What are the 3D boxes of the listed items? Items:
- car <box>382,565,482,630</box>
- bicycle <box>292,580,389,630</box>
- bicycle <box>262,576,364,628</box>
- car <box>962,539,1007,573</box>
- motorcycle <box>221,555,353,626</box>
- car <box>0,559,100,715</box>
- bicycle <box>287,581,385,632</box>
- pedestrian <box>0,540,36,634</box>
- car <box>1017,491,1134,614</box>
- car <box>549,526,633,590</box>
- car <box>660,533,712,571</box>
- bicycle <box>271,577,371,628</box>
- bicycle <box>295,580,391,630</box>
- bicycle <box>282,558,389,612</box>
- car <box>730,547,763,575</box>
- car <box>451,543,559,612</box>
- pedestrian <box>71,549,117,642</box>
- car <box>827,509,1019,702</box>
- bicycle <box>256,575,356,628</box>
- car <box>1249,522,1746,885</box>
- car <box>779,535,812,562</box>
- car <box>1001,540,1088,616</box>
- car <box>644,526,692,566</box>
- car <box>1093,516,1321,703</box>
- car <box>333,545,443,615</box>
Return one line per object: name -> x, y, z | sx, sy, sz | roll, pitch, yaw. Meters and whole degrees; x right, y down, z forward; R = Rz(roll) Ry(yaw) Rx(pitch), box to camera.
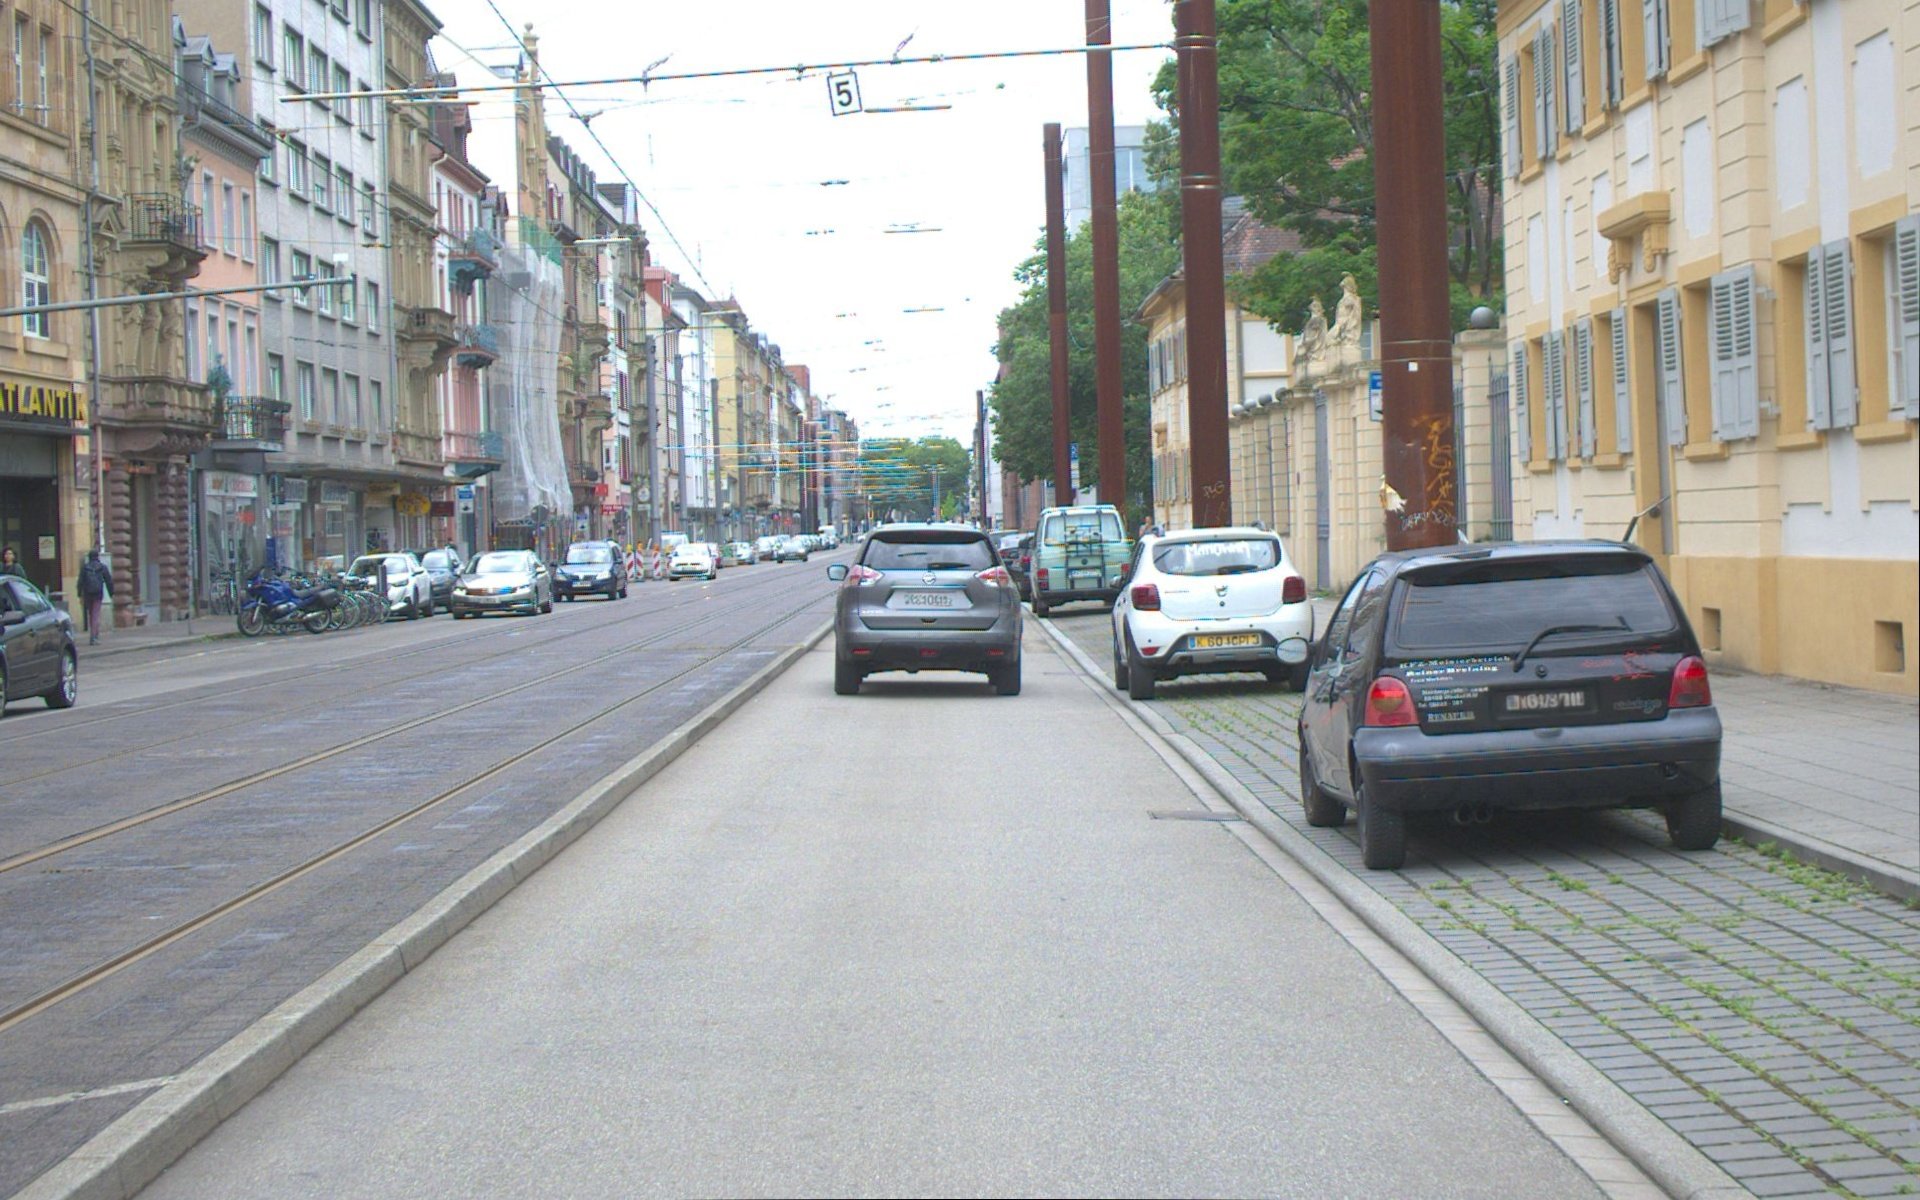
car -> -12.984, -0.083, 84.776 | 1.776, 1.499, 4.402 | -1, 1, 0
bicycle -> -13.118, 0.104, 72.832 | 1.965, 0.998, 0.463 | -2, 1, -7
bicycle -> -13.061, 0.034, 69.426 | 1.965, 0.998, 0.463 | -2, 1, -7
car -> 1.028, -1.884, 146.169 | 1.776, 1.415, 4.135 | -1, 1, 0
motorcycle -> -13.074, -0.188, 66.855 | 2.337, 1.298, 0.883 | -2, 1, -36
car -> -9.914, 0.388, 33.651 | 1.827, 1.428, 4.667 | -4, 1, -1
bicycle -> -13.009, 0.127, 71.685 | 1.965, 0.998, 0.463 | -2, 1, -7
pedestrian -> -16.389, -0.231, 59.255 | 0.685, 1.608, 0.742 | -1, 1, 0
car -> 2.130, -0.901, 64.572 | 1.851, 2.108, 4.985 | -4, 1, 0
car -> -10.048, -1.160, 93.794 | 1.759, 1.666, 4.614 | -1, 1, 0
car -> -10.772, -1.906, 135.375 | 1.687, 1.415, 4.135 | -1, 1, 0
bicycle -> -13.109, 0.052, 70.513 | 1.965, 0.998, 0.463 | -2, 1, -7
bicycle -> -13.163, 0.099, 73.413 | 1.965, 0.998, 0.463 | -2, 1, -7
bicycle -> -13.536, -0.328, 74.554 | 2.230, 1.122, 0.504 | -2, 1, -7
car -> -13.163, -2.392, 212.127 | 1.993, 1.629, 4.000 | -1, 0, -3
car -> -10.073, -0.525, 76.379 | 1.759, 1.444, 4.614 | -1, 1, 0
pedestrian -> -14.999, -0.082, 59.534 | 0.568, 1.592, 0.718 | -1, 1, 0
car -> -0.361, 0.016, 34.490 | 1.749, 1.750, 3.924 | 2, 1, 0
bicycle -> -13.085, 0.030, 68.788 | 1.921, 0.998, 0.463 | -2, 1, -7
car -> 2.437, 0.398, 16.489 | 1.637, 1.429, 3.931 | -4, 1, -1
car -> -10.317, -3.219, 215.167 | 1.993, 1.629, 4.000 | -1, 0, -3
car -> 1.909, -0.523, 78.784 | 1.749, 1.590, 3.924 | -4, 1, 0
car -> -13.056, -2.417, 153.790 | 1.993, 1.700, 4.000 | -1, 0, -3
car -> 2.305, 0.048, 32.976 | 1.755, 1.569, 3.931 | -4, 1, -1
car -> -12.995, -0.474, 78.364 | 1.776, 1.499, 4.402 | -1, 1, 0
